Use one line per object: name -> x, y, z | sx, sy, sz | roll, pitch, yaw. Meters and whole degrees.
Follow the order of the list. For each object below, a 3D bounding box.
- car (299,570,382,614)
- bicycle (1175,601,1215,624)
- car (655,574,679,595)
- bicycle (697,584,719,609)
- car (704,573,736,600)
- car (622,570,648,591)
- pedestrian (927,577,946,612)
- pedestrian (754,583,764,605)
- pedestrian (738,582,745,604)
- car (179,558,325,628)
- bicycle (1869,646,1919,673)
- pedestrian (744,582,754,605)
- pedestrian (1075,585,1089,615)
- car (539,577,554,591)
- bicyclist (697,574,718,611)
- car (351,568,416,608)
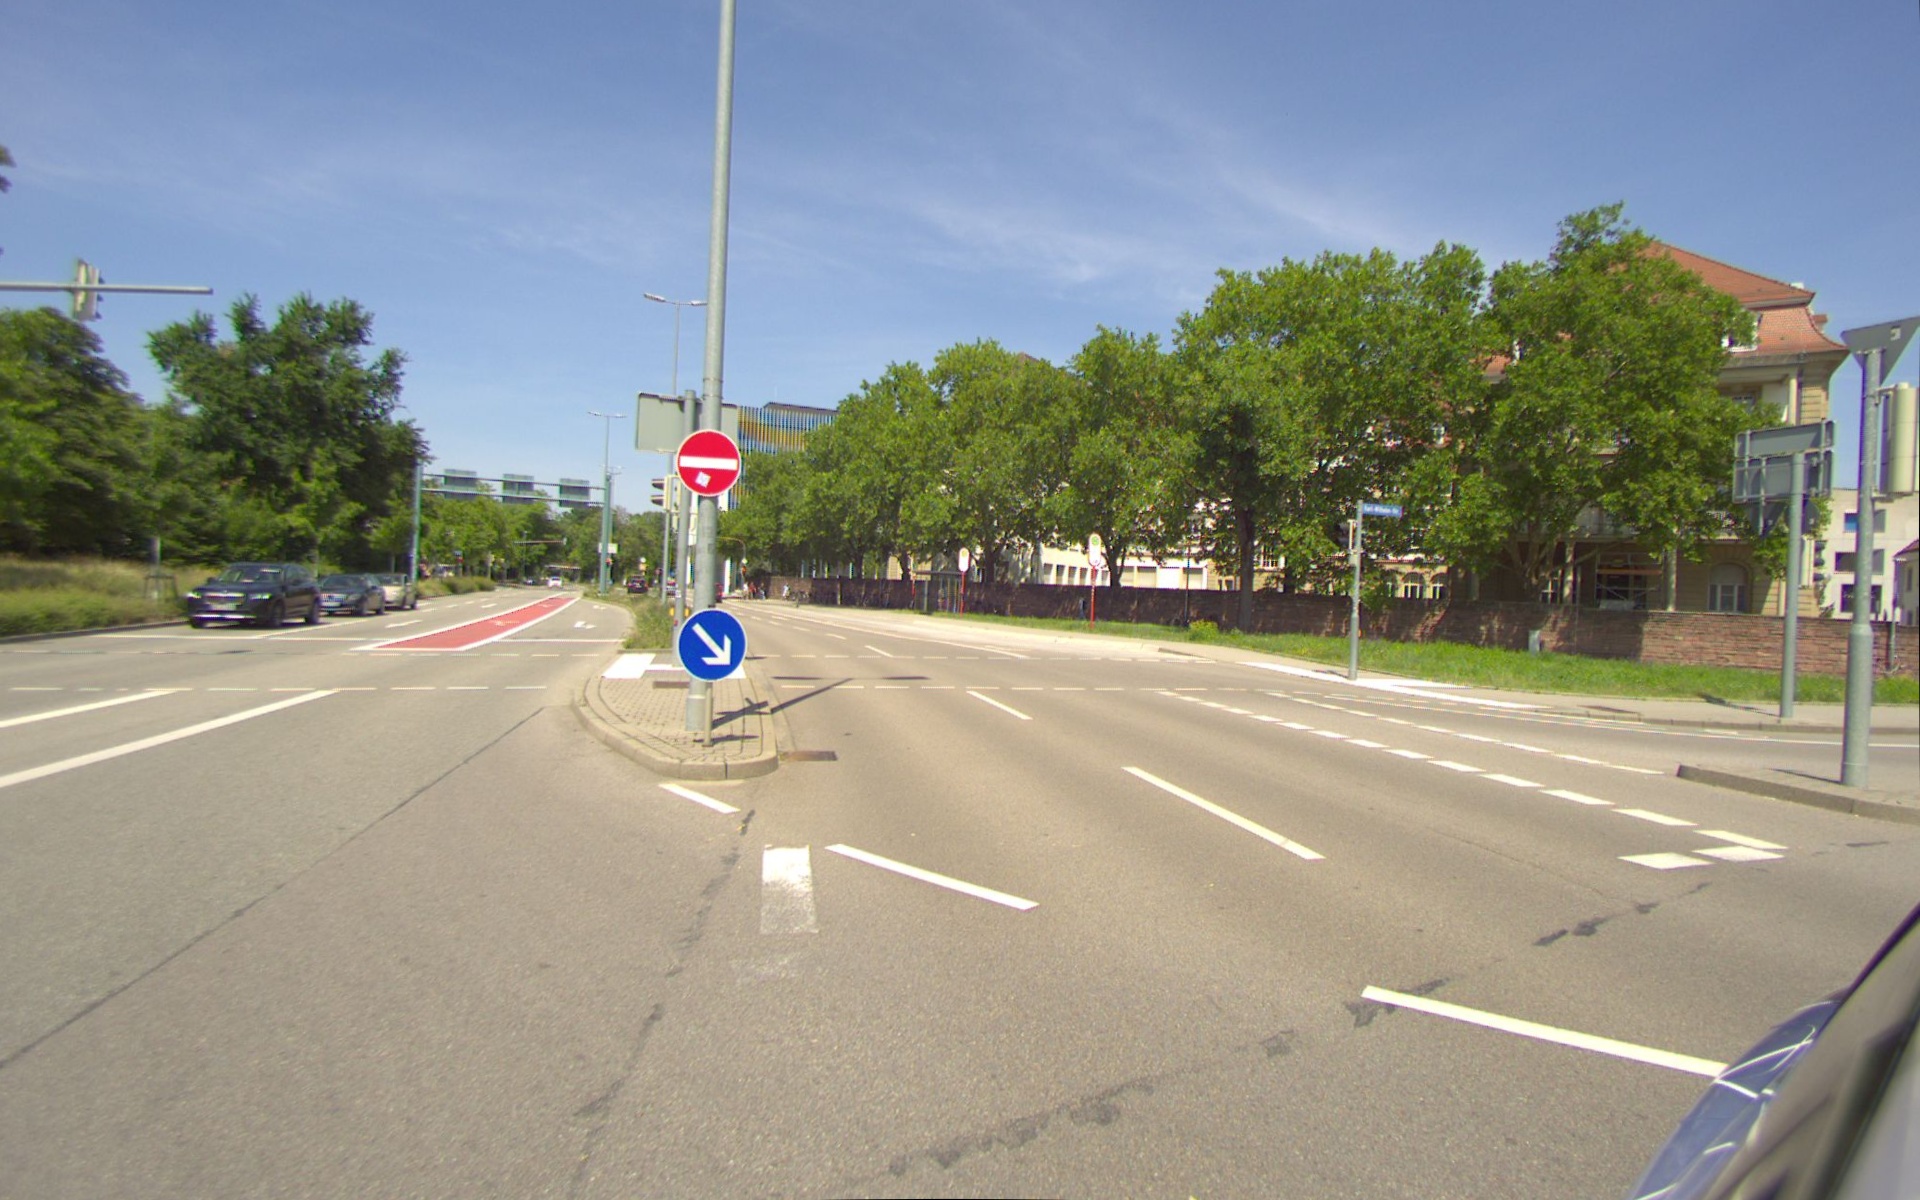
car -> -20.960, -0.231, 34.388 | 1.723, 1.327, 4.007 | 2, -2, -23
bicycle -> 12.770, 0.656, 55.063 | 2.160, 1.197, 0.451 | 0, -2, 41
car -> -26.167, -1.351, 90.295 | 1.744, 1.705, 4.007 | 2, -2, -19
bicycle -> -13.399, -0.172, 53.702 | 0.510, 1.253, 2.194 | 3, -2, -30
car -> -19.864, -1.049, 83.679 | 1.958, 2.040, 4.222 | 2, -2, -21
car -> -28.670, -1.697, 89.262 | 1.741, 1.690, 4.007 | 2, -2, -23
pedestrian -> -1.619, -0.384, 69.663 | 0.833, 2.320, 1.075 | 3, -2, -34
pedestrian -> -18.915, -0.556, 95.178 | 0.772, 2.040, 0.842 | 2, -2, -21
pedestrian -> -20.366, -0.624, 94.330 | 0.538, 2.040, 0.537 | 2, -2, -21
car -> -18.259, -0.218, 26.338 | 1.673, 1.606, 4.566 | 2, 1, -16
bicycle -> 35.522, 2.254, 38.114 | 1.755, 0.940, 0.674 | 1, -2, 23
pedestrian -> -19.831, -0.602, 95.119 | 0.772, 2.040, 0.965 | 2, -2, -21
pedestrian -> 7.199, 0.019, 59.743 | 0.525, 1.743, 0.580 | 0, -3, 44
car -> -54.131, -2.054, 132.435 | 1.700, 1.708, 3.922 | 2, -2, -21
bicyclist -> -13.398, -0.406, 53.707 | 0.695, 1.911, 1.139 | 3, -2, -30
car -> -23.197, -0.442, 40.862 | 1.723, 1.457, 4.007 | 2, -2, -23
